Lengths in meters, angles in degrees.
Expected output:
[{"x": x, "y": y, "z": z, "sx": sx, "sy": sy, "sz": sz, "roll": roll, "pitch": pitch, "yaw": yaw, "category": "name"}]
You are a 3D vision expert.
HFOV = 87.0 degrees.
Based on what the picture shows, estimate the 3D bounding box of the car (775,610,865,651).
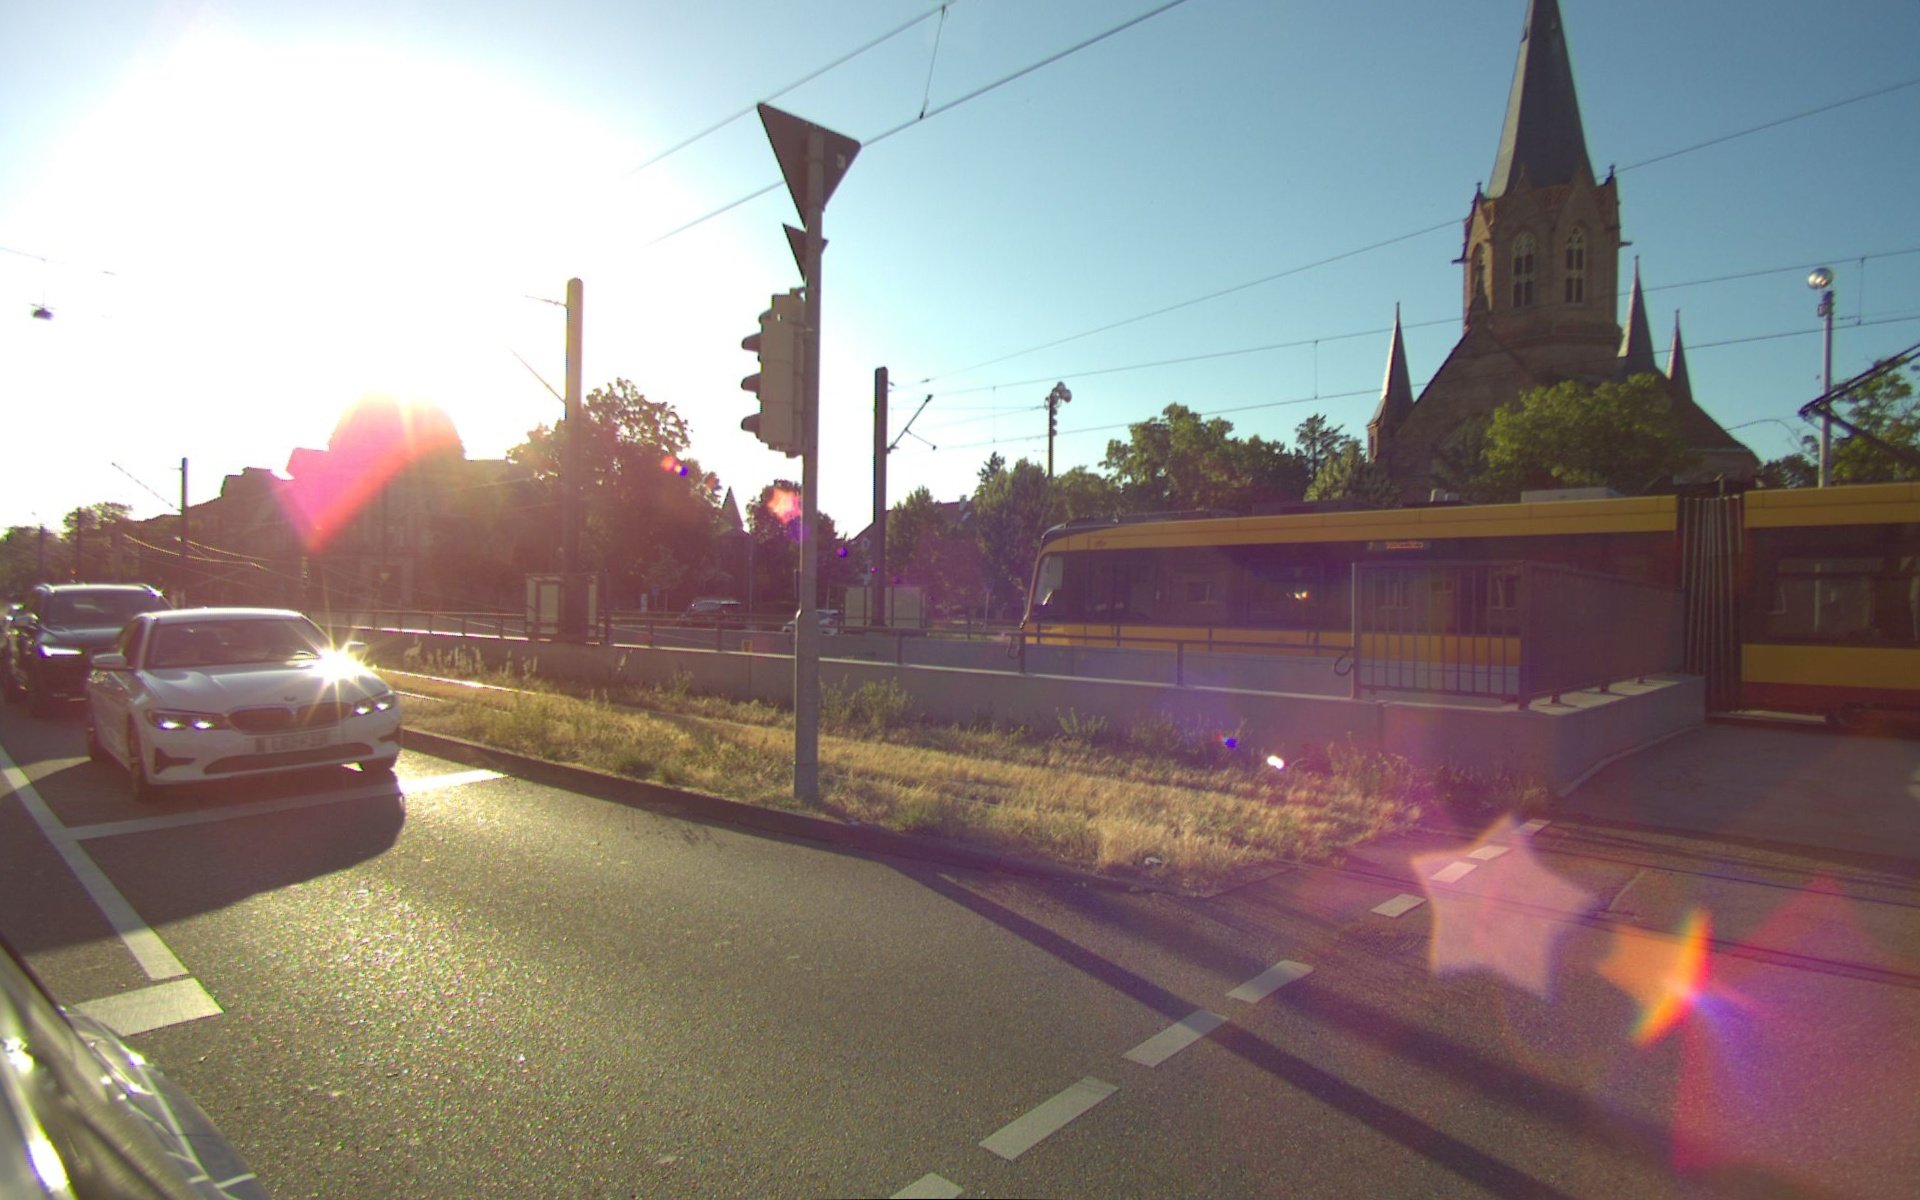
[{"x": -5.672, "y": 1.211, "z": 40.827, "sx": 3.675, "sy": 1.552, "sz": 1.691, "roll": 0, "pitch": -1, "yaw": 44, "category": "car"}]

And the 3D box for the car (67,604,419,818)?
[{"x": -6.721, "y": 0.781, "z": 9.260, "sx": 4.586, "sy": 1.411, "sz": 1.817, "roll": 0, "pitch": 2, "yaw": 44, "category": "car"}]

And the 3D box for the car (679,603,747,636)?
[{"x": -13.477, "y": 1.053, "z": 55.179, "sx": 4.091, "sy": 1.707, "sz": 1.691, "roll": 0, "pitch": -1, "yaw": 44, "category": "car"}]

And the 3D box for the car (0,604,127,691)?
[{"x": -17.151, "y": 0.820, "z": 19.029, "sx": 3.920, "sy": 1.411, "sz": 1.791, "roll": 0, "pitch": 2, "yaw": 43, "category": "car"}]

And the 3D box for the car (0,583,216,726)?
[{"x": -12.652, "y": 0.659, "z": 14.783, "sx": 4.850, "sy": 1.725, "sz": 1.930, "roll": 0, "pitch": 2, "yaw": 42, "category": "car"}]

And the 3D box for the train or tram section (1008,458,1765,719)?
[{"x": 6.840, "y": -0.142, "z": 19.368, "sx": 13.253, "sy": 3.563, "sz": 2.742, "roll": 0, "pitch": -1, "yaw": 43, "category": "train or tram section"}]

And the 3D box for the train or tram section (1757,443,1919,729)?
[{"x": 16.548, "y": -0.171, "z": 10.172, "sx": 13.253, "sy": 3.563, "sz": 2.742, "roll": 0, "pitch": -1, "yaw": 43, "category": "train or tram section"}]
